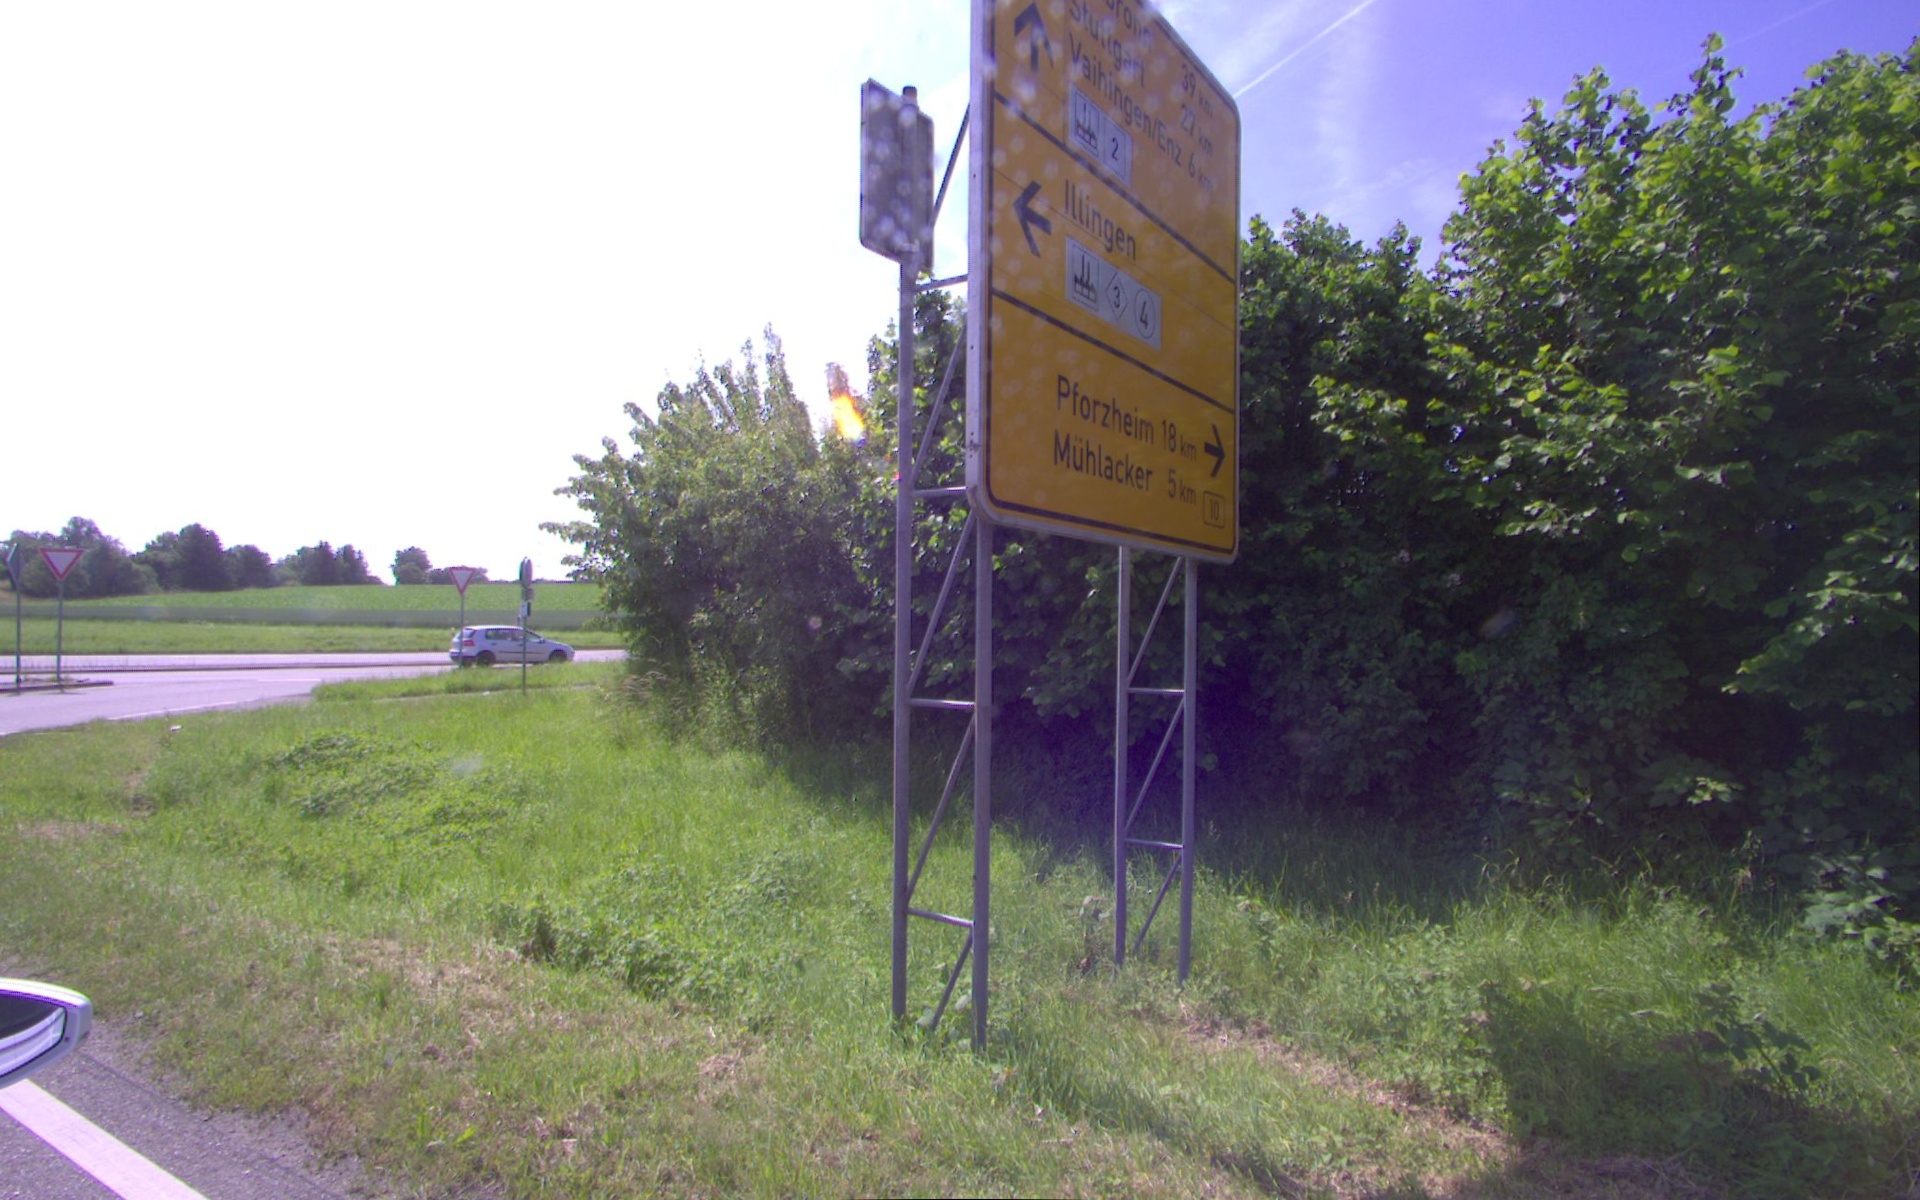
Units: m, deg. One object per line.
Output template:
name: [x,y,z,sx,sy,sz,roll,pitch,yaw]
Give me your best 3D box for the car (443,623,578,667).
car: [-15.962,1.579,35.655,1.775,1.435,4.013,1,-1,43]
